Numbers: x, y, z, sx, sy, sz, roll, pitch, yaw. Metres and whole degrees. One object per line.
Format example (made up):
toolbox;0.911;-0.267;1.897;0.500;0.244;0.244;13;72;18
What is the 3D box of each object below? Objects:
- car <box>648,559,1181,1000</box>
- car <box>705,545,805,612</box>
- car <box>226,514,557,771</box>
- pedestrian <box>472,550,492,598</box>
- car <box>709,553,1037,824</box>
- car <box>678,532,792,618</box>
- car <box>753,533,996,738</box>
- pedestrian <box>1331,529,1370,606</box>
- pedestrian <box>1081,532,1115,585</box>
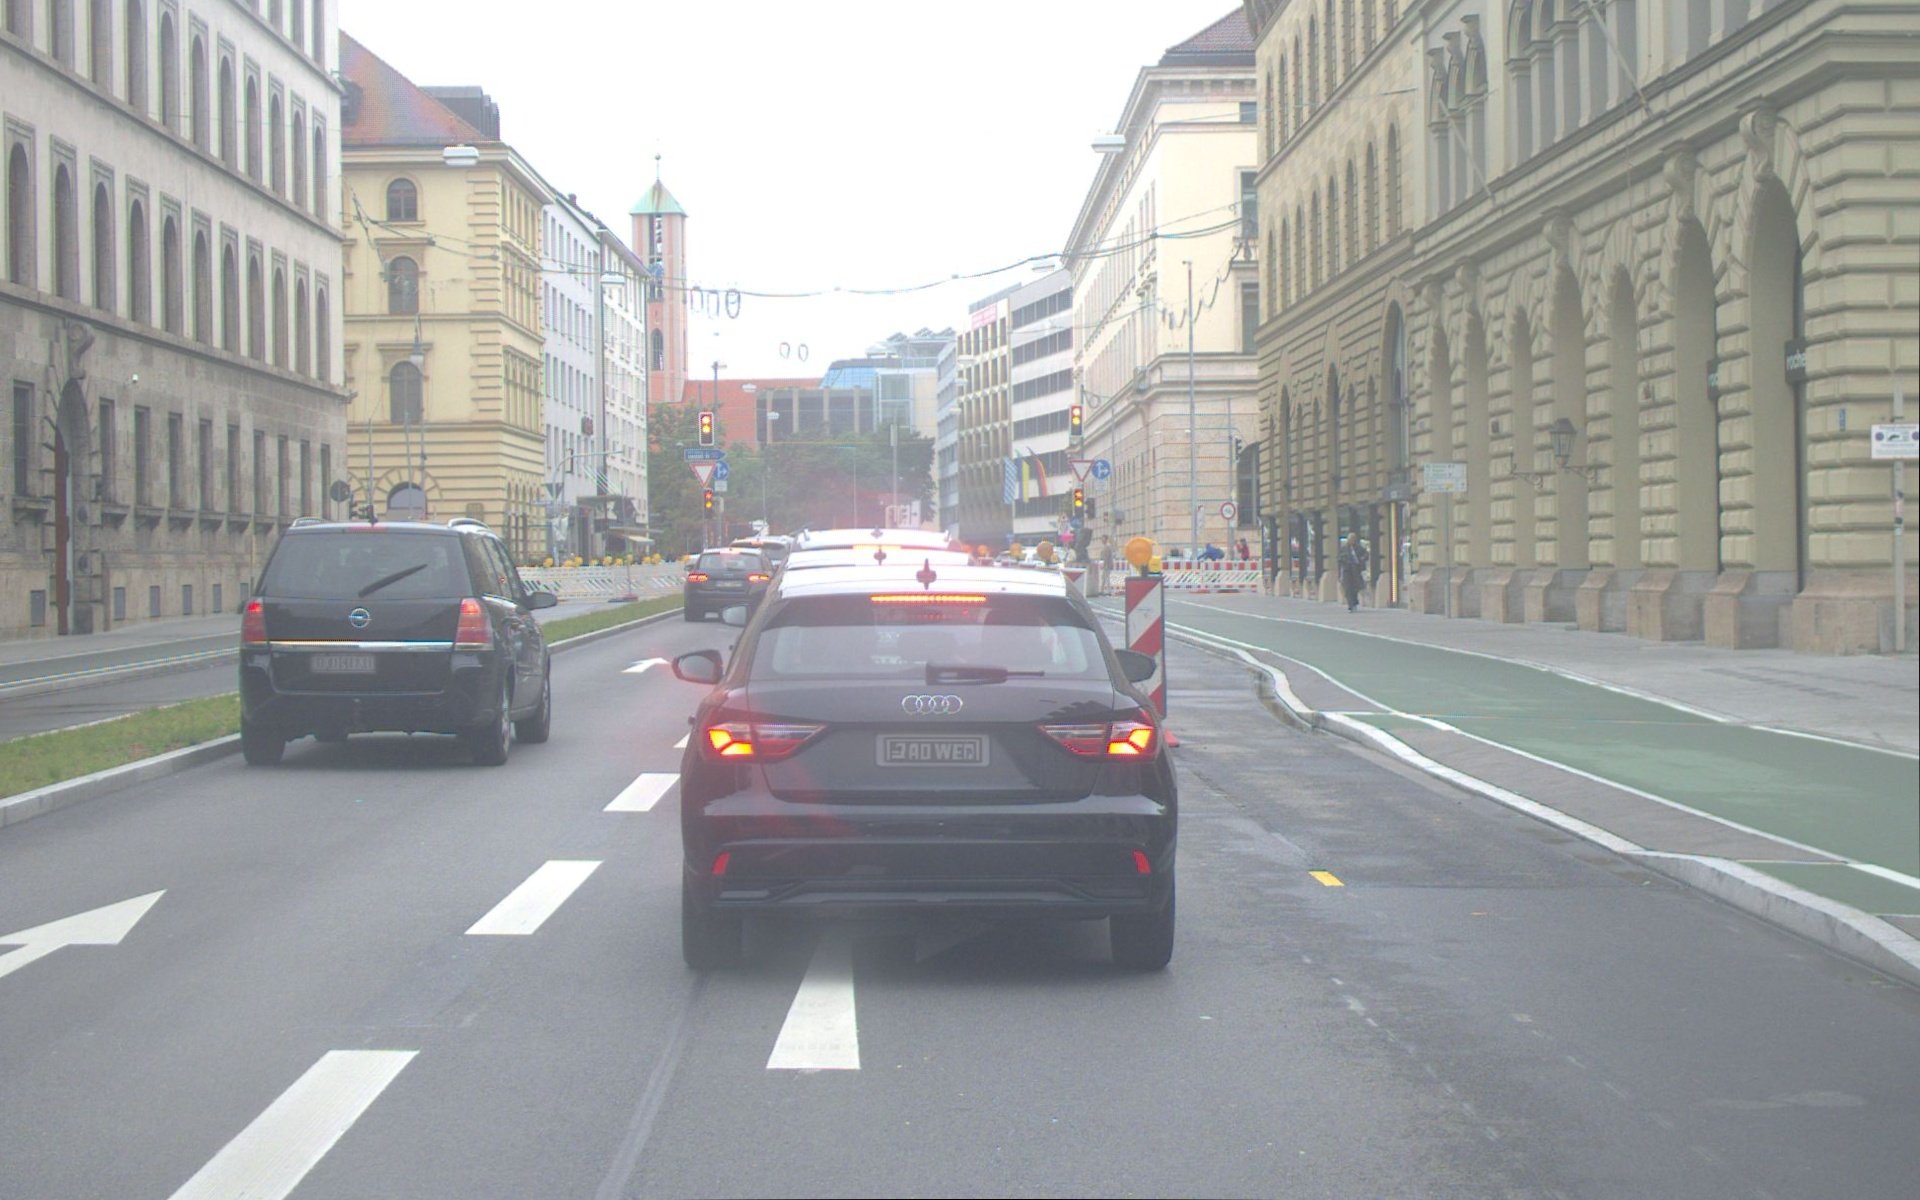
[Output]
car;-0.179;0.565;13.275;1.730;1.398;4.000;1;1;-1
car;-4.514;-0.497;76.079;1.993;1.439;4.000;0;1;0
car;-3.836;0.233;23.796;1.764;1.610;4.030;1;1;-2
pedestrian;-18.210;-1.002;130.911;0.656;1.799;0.727;-1;1;-1
car;-0.496;0.446;20.336;1.730;1.398;4.000;1;1;-1
car;-4.371;-0.508;67.330;1.993;1.622;4.000;0;1;0
car;-0.646;0.219;26.766;1.730;1.456;4.000;1;1;-1
pedestrian;8.265;-0.688;72.833;0.710;1.612;0.754;-1;1;-1
pedestrian;4.196;-1.257;104.595;0.710;1.612;0.754;-1;1;-30
